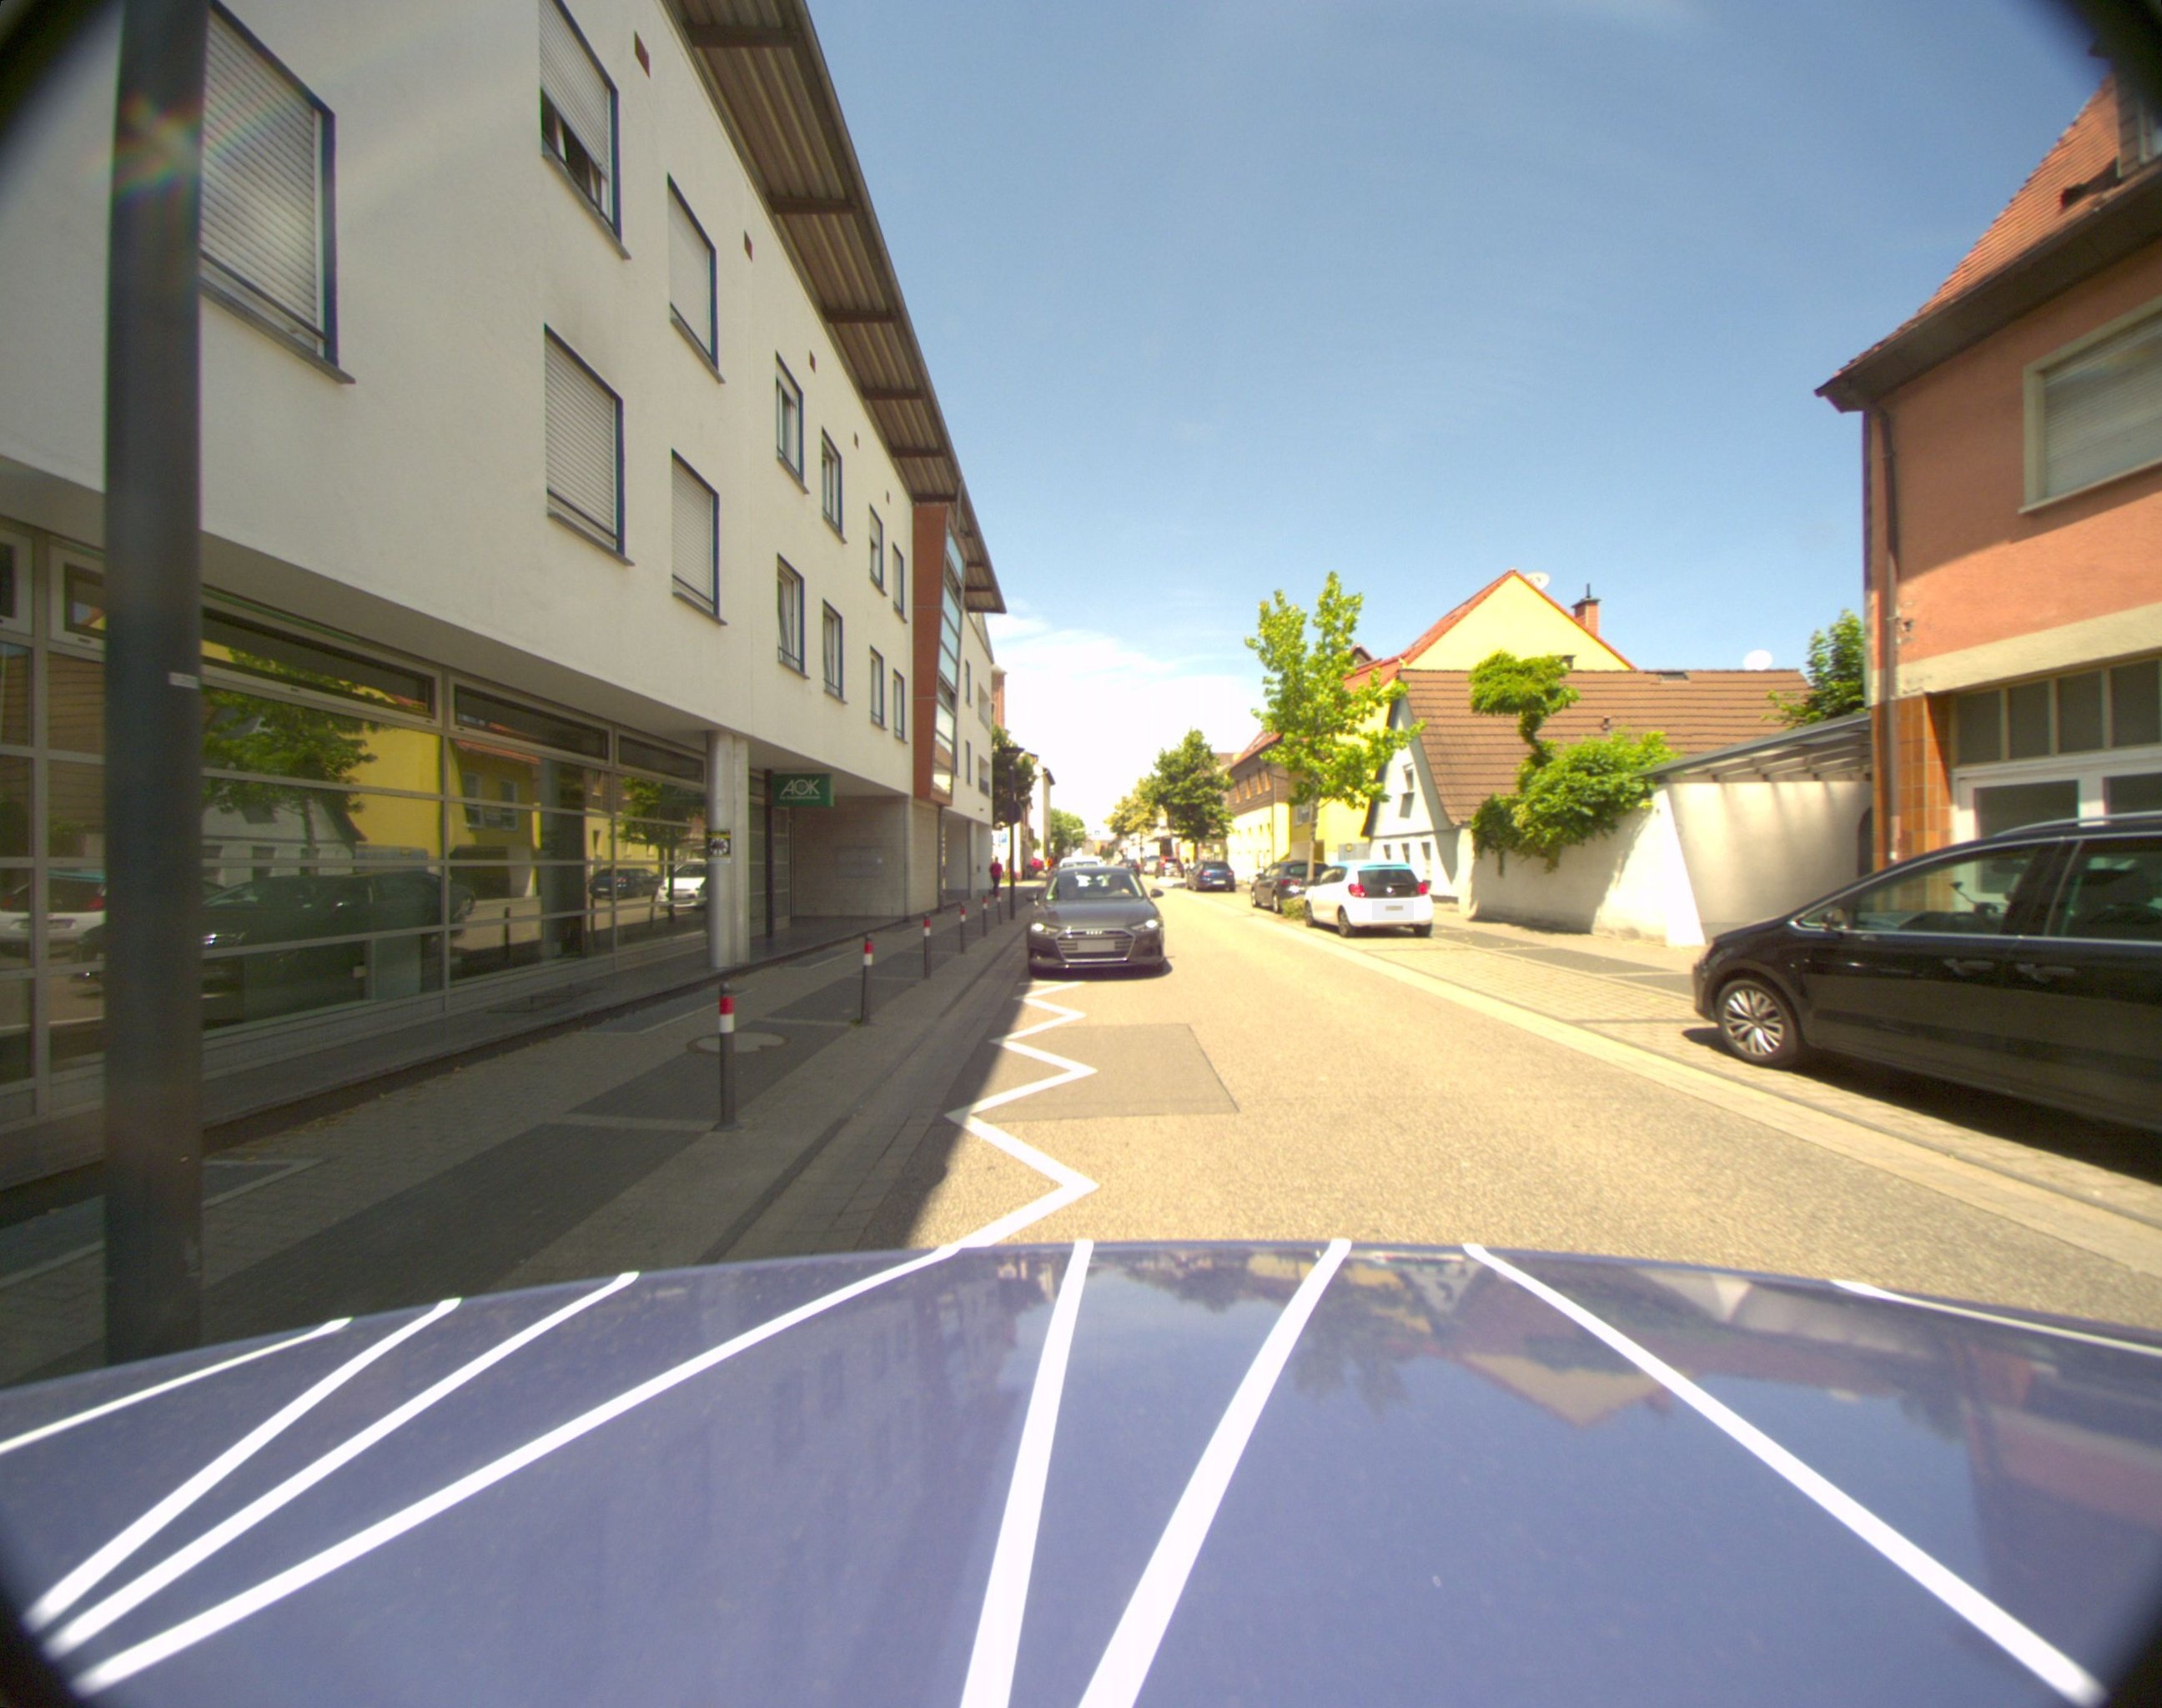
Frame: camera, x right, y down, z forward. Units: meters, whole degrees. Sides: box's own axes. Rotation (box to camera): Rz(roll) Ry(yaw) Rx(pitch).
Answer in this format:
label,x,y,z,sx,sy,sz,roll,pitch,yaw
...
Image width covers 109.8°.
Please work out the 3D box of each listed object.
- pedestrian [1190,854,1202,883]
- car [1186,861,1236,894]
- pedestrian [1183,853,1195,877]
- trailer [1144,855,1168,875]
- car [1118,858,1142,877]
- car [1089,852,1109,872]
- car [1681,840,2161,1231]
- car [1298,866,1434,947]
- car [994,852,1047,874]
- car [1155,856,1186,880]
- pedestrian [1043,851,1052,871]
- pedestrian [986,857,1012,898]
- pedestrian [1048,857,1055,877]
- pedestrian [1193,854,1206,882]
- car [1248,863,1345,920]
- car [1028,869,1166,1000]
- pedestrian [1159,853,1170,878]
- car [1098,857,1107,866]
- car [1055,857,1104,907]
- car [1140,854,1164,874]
label,x,y,z,sx,sy,sz,roll,pitch,yaw
pedestrian,6.463,0.803,42.671,0.631,1.592,0.528,0,0,1
car,5.870,1.033,34.675,1.660,1.399,4.158,0,0,1
pedestrian,7.190,0.751,50.510,0.663,1.592,0.771,0,0,1
trailer,6.544,0.942,66.431,1.493,1.571,3.883,-3,0,-1
car,3.906,1.042,60.663,1.693,1.464,4.000,1,0,0
car,1.420,0.632,62.398,1.581,1.620,4.065,0,0,0
car,5.630,0.789,3.762,1.780,1.716,4.520,0,0,0
car,5.673,0.978,15.542,1.557,1.422,3.410,0,0,1
car,-4.994,0.745,63.265,4.203,1.849,2.000,0,0,0
car,6.343,0.965,54.066,1.753,1.566,4.158,-1,0,1
pedestrian,-3.131,0.632,70.824,0.580,1.875,0.696,1,1,36
pedestrian,-3.228,0.920,29.931,0.825,1.579,0.919,2,0,1
pedestrian,-2.770,1.217,72.360,0.581,1.875,0.695,0,0,3
pedestrian,6.795,0.794,43.528,0.631,1.592,0.528,0,0,1
car,6.045,0.994,21.741,1.649,1.422,4.099,1,0,1
car,0.204,0.980,10.910,1.581,1.424,4.065,-1,0,0
pedestrian,5.513,0.766,50.373,0.643,1.645,0.624,0,0,1
car,4.638,1.669,165.362,1.695,1.761,3.999,-4,0,-1
car,-0.023,0.913,26.749,1.581,1.620,4.065,0,0,0
car,6.602,0.873,70.827,1.695,1.742,3.999,-3,0,-1
